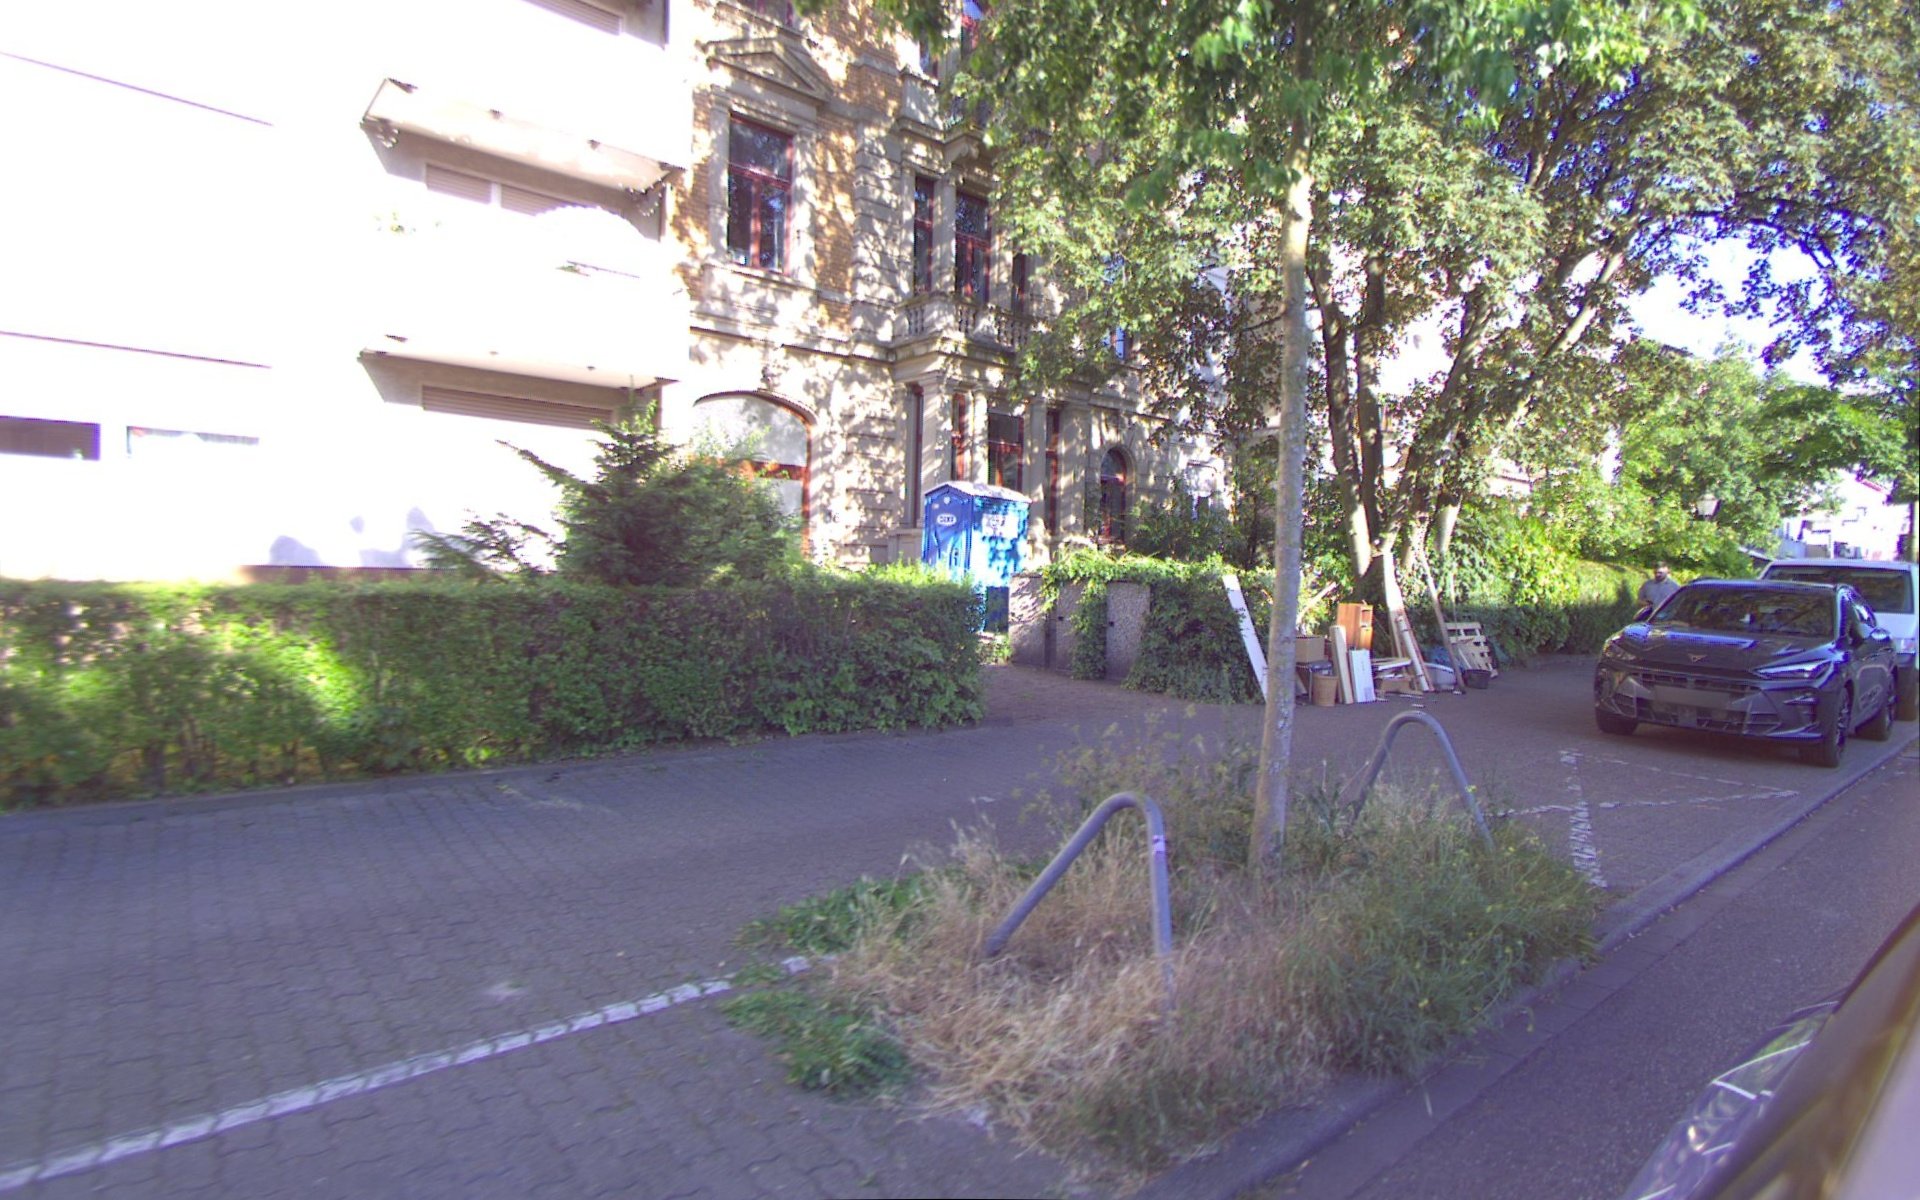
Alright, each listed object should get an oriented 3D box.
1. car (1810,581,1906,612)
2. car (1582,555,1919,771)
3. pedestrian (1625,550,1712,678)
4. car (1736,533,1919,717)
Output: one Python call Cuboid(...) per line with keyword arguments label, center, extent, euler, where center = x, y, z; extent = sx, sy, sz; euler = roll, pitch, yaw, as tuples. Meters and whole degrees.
Cuboid(label="car", center=(49.814, -0.221, 56.169), extent=(1.550, 1.523, 3.869), euler=(0, 2, -45))
Cuboid(label="car", center=(8.047, 0.462, 10.114), extent=(4.236, 1.623, 1.860), euler=(0, 5, -41))
Cuboid(label="pedestrian", center=(10.399, 0.173, 14.849), extent=(1.071, 1.796, 0.821), euler=(0, 2, -44))
Cuboid(label="car", center=(12.338, 0.248, 13.851), extent=(4.561, 2.129, 1.906), euler=(0, 2, -42))
